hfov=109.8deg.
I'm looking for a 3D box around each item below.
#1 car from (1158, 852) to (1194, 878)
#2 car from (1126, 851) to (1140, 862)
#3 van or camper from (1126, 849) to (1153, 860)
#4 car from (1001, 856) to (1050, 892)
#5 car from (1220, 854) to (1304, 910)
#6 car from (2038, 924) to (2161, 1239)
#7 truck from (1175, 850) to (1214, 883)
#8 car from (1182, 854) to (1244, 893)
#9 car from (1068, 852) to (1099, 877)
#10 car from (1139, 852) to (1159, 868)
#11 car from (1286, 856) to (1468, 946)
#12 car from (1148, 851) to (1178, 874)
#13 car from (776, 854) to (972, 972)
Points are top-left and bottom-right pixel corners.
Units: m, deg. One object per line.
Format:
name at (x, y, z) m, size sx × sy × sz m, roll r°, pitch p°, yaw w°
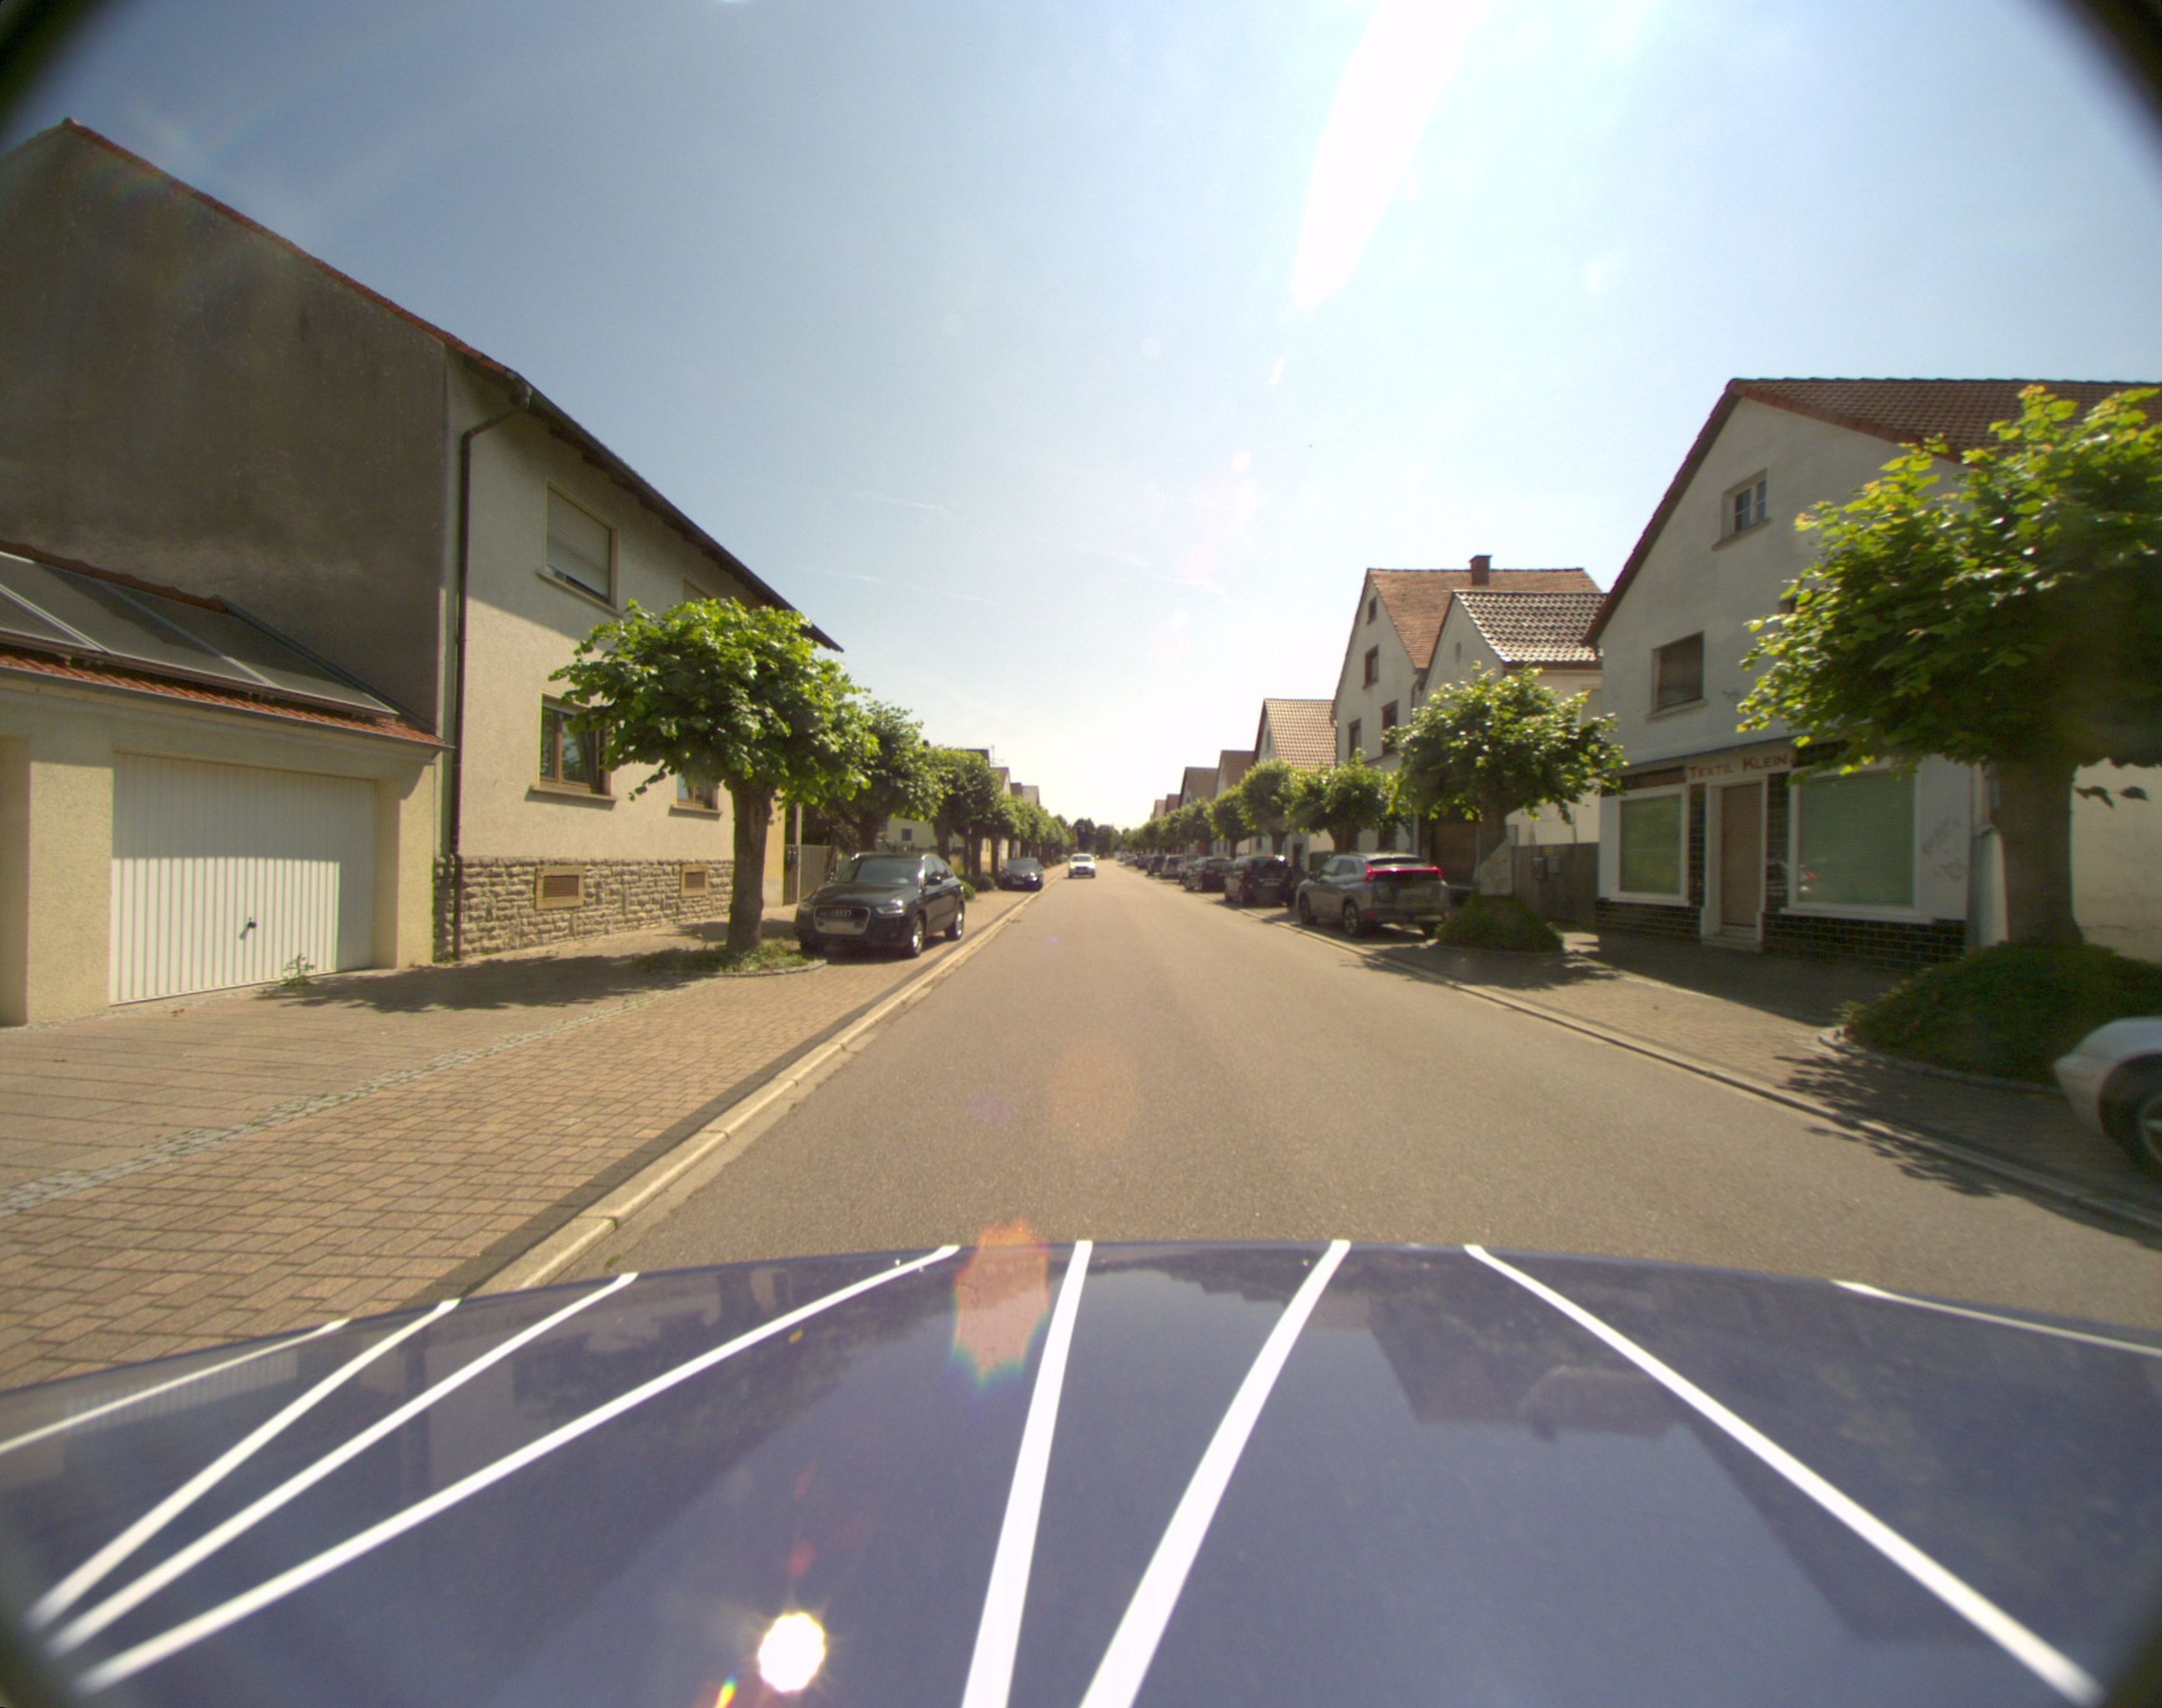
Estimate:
car at (6.405, 0.710, 51.615) m, size 1.857 × 1.604 × 4.370 m, roll -1°, pitch 1°, yaw 0°
car at (7.392, 0.392, 107.935) m, size 1.829 × 1.474 × 4.132 m, roll -1°, pitch 1°, yaw 1°
van or camper at (10.442, 0.166, 135.832) m, size 4.752 × 1.851 × 2.000 m, roll -1°, pitch 0°, yaw 0°
car at (-2.428, 0.866, 34.071) m, size 1.829 × 1.424 × 4.057 m, roll 3°, pitch 0°, yaw 0°
car at (5.924, 0.853, 25.320) m, size 1.857 × 1.626 × 4.056 m, roll -1°, pitch 1°, yaw 0°
car at (5.819, 1.055, 1.683) m, size 1.845 × 1.388 × 4.406 m, roll 0°, pitch 0°, yaw 0°
truck at (6.442, 0.653, 43.563) m, size 1.580 × 1.755 × 4.192 m, roll -1°, pitch 0°, yaw 1°
car at (5.897, 0.845, 34.359) m, size 1.791 × 1.624 × 3.998 m, roll -1°, pitch 0°, yaw -5°
car at (0.216, 0.658, 51.779) m, size 1.857 × 1.603 × 4.135 m, roll -1°, pitch 0°, yaw 3°
car at (7.075, 0.570, 79.655) m, size 1.857 × 1.603 × 4.135 m, roll -1°, pitch 0°, yaw 3°
car at (6.080, 0.879, 16.240) m, size 1.999 × 1.643 × 4.366 m, roll 1°, pitch 0°, yaw -3°
car at (6.328, 0.649, 58.772) m, size 1.857 × 1.626 × 4.299 m, roll -2°, pitch 0°, yaw 0°
car at (-3.206, 0.838, 12.672) m, size 1.828 × 1.576 × 4.058 m, roll 2°, pitch 0°, yaw 4°
